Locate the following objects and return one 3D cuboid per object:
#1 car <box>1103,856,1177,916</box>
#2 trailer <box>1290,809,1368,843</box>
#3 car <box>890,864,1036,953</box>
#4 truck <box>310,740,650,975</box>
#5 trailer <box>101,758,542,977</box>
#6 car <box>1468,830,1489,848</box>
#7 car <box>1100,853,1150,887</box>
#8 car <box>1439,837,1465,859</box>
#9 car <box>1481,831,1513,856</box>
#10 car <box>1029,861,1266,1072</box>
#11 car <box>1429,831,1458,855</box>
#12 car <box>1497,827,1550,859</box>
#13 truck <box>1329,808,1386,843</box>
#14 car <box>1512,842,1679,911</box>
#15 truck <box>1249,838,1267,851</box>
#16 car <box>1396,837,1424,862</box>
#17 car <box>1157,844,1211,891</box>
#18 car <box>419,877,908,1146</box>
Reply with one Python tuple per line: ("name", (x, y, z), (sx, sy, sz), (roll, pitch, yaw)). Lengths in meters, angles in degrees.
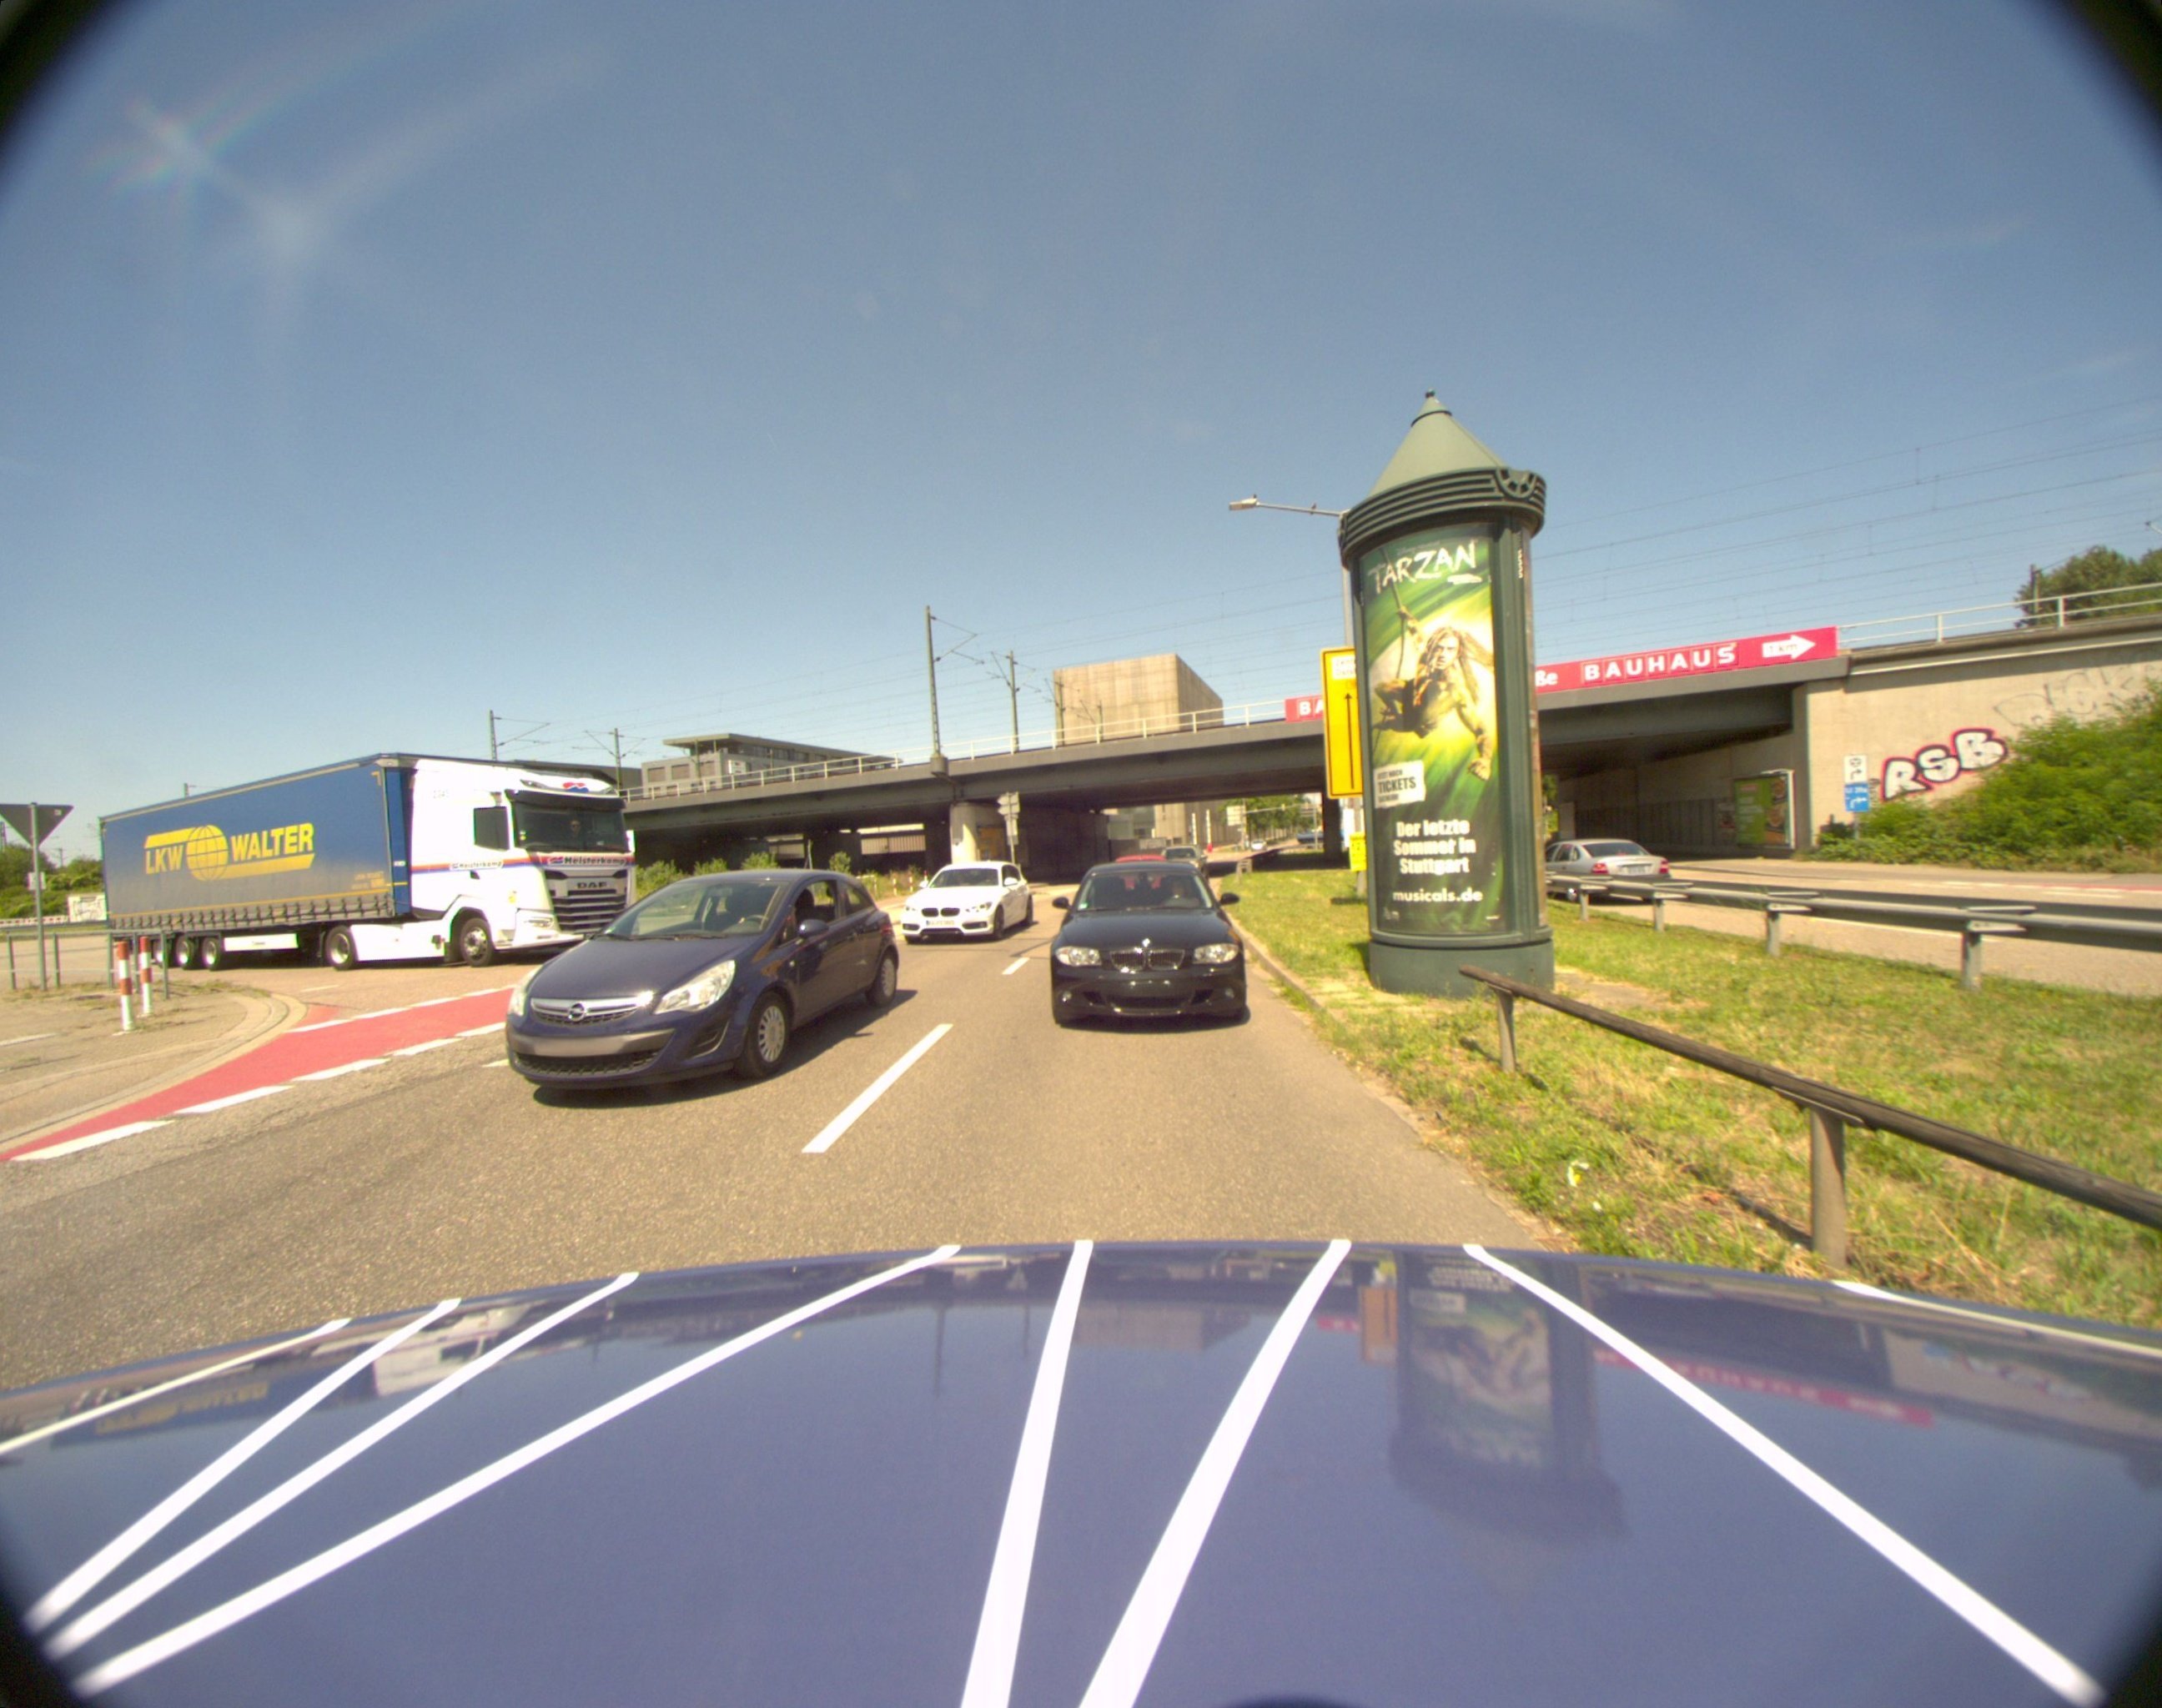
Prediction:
("car", (1.657, 0.773, 20.168), (1.645, 1.391, 4.055), (-1, 0, 8))
("trailer", (27.818, -2.983, 86.325), (2.964, 3.354, 13.885), (-3, 1, -6))
("car", (-2.137, 0.958, 14.961), (1.761, 1.435, 4.055), (-1, 0, 8))
("truck", (-12.086, 0.136, 15.356), (5.749, 4.078, 2.579), (-2, 1, 20))
("trailer", (-18.605, 0.566, 18.122), (13.873, 4.066, 2.504), (-3, 1, 24))
("car", (28.645, -1.073, 54.830), (1.183, 1.241, 2.696), (-2, 1, 25))
("car", (2.254, 0.754, 37.841), (1.715, 1.434, 4.004), (-2, 1, 15))
("car", (21.614, -0.371, 44.286), (1.269, 1.178, 2.782), (-2, 1, 25))
("car", (26.470, -0.677, 48.410), (1.571, 1.494, 3.412), (-2, 1, 25))
("car", (0.618, 0.853, 7.593), (1.681, 1.409, 4.057), (-2, 1, 4))
("car", (23.919, -0.750, 50.189), (1.617, 1.468, 3.438), (-2, 1, 25))
("car", (24.829, -0.620, 42.759), (1.774, 1.658, 4.019), (-2, 1, 19))
("truck", (28.728, -2.881, 79.149), (3.022, 3.397, 6.562), (-2, 1, -5))
("car", (11.688, 0.432, 17.616), (1.637, 1.395, 4.224), (-1, 1, 10))
("truck", (22.908, -1.222, 98.291), (1.728, 1.493, 4.005), (-2, 1, 21))
("car", (19.305, -0.292, 44.585), (1.410, 1.311, 3.266), (-2, 1, 24))
("car", (4.212, 0.479, 30.527), (1.844, 1.686, 3.702), (-2, 1, 12))
("car", (-2.924, 1.004, 6.418), (1.649, 1.435, 3.892), (-2, 0, 6))
